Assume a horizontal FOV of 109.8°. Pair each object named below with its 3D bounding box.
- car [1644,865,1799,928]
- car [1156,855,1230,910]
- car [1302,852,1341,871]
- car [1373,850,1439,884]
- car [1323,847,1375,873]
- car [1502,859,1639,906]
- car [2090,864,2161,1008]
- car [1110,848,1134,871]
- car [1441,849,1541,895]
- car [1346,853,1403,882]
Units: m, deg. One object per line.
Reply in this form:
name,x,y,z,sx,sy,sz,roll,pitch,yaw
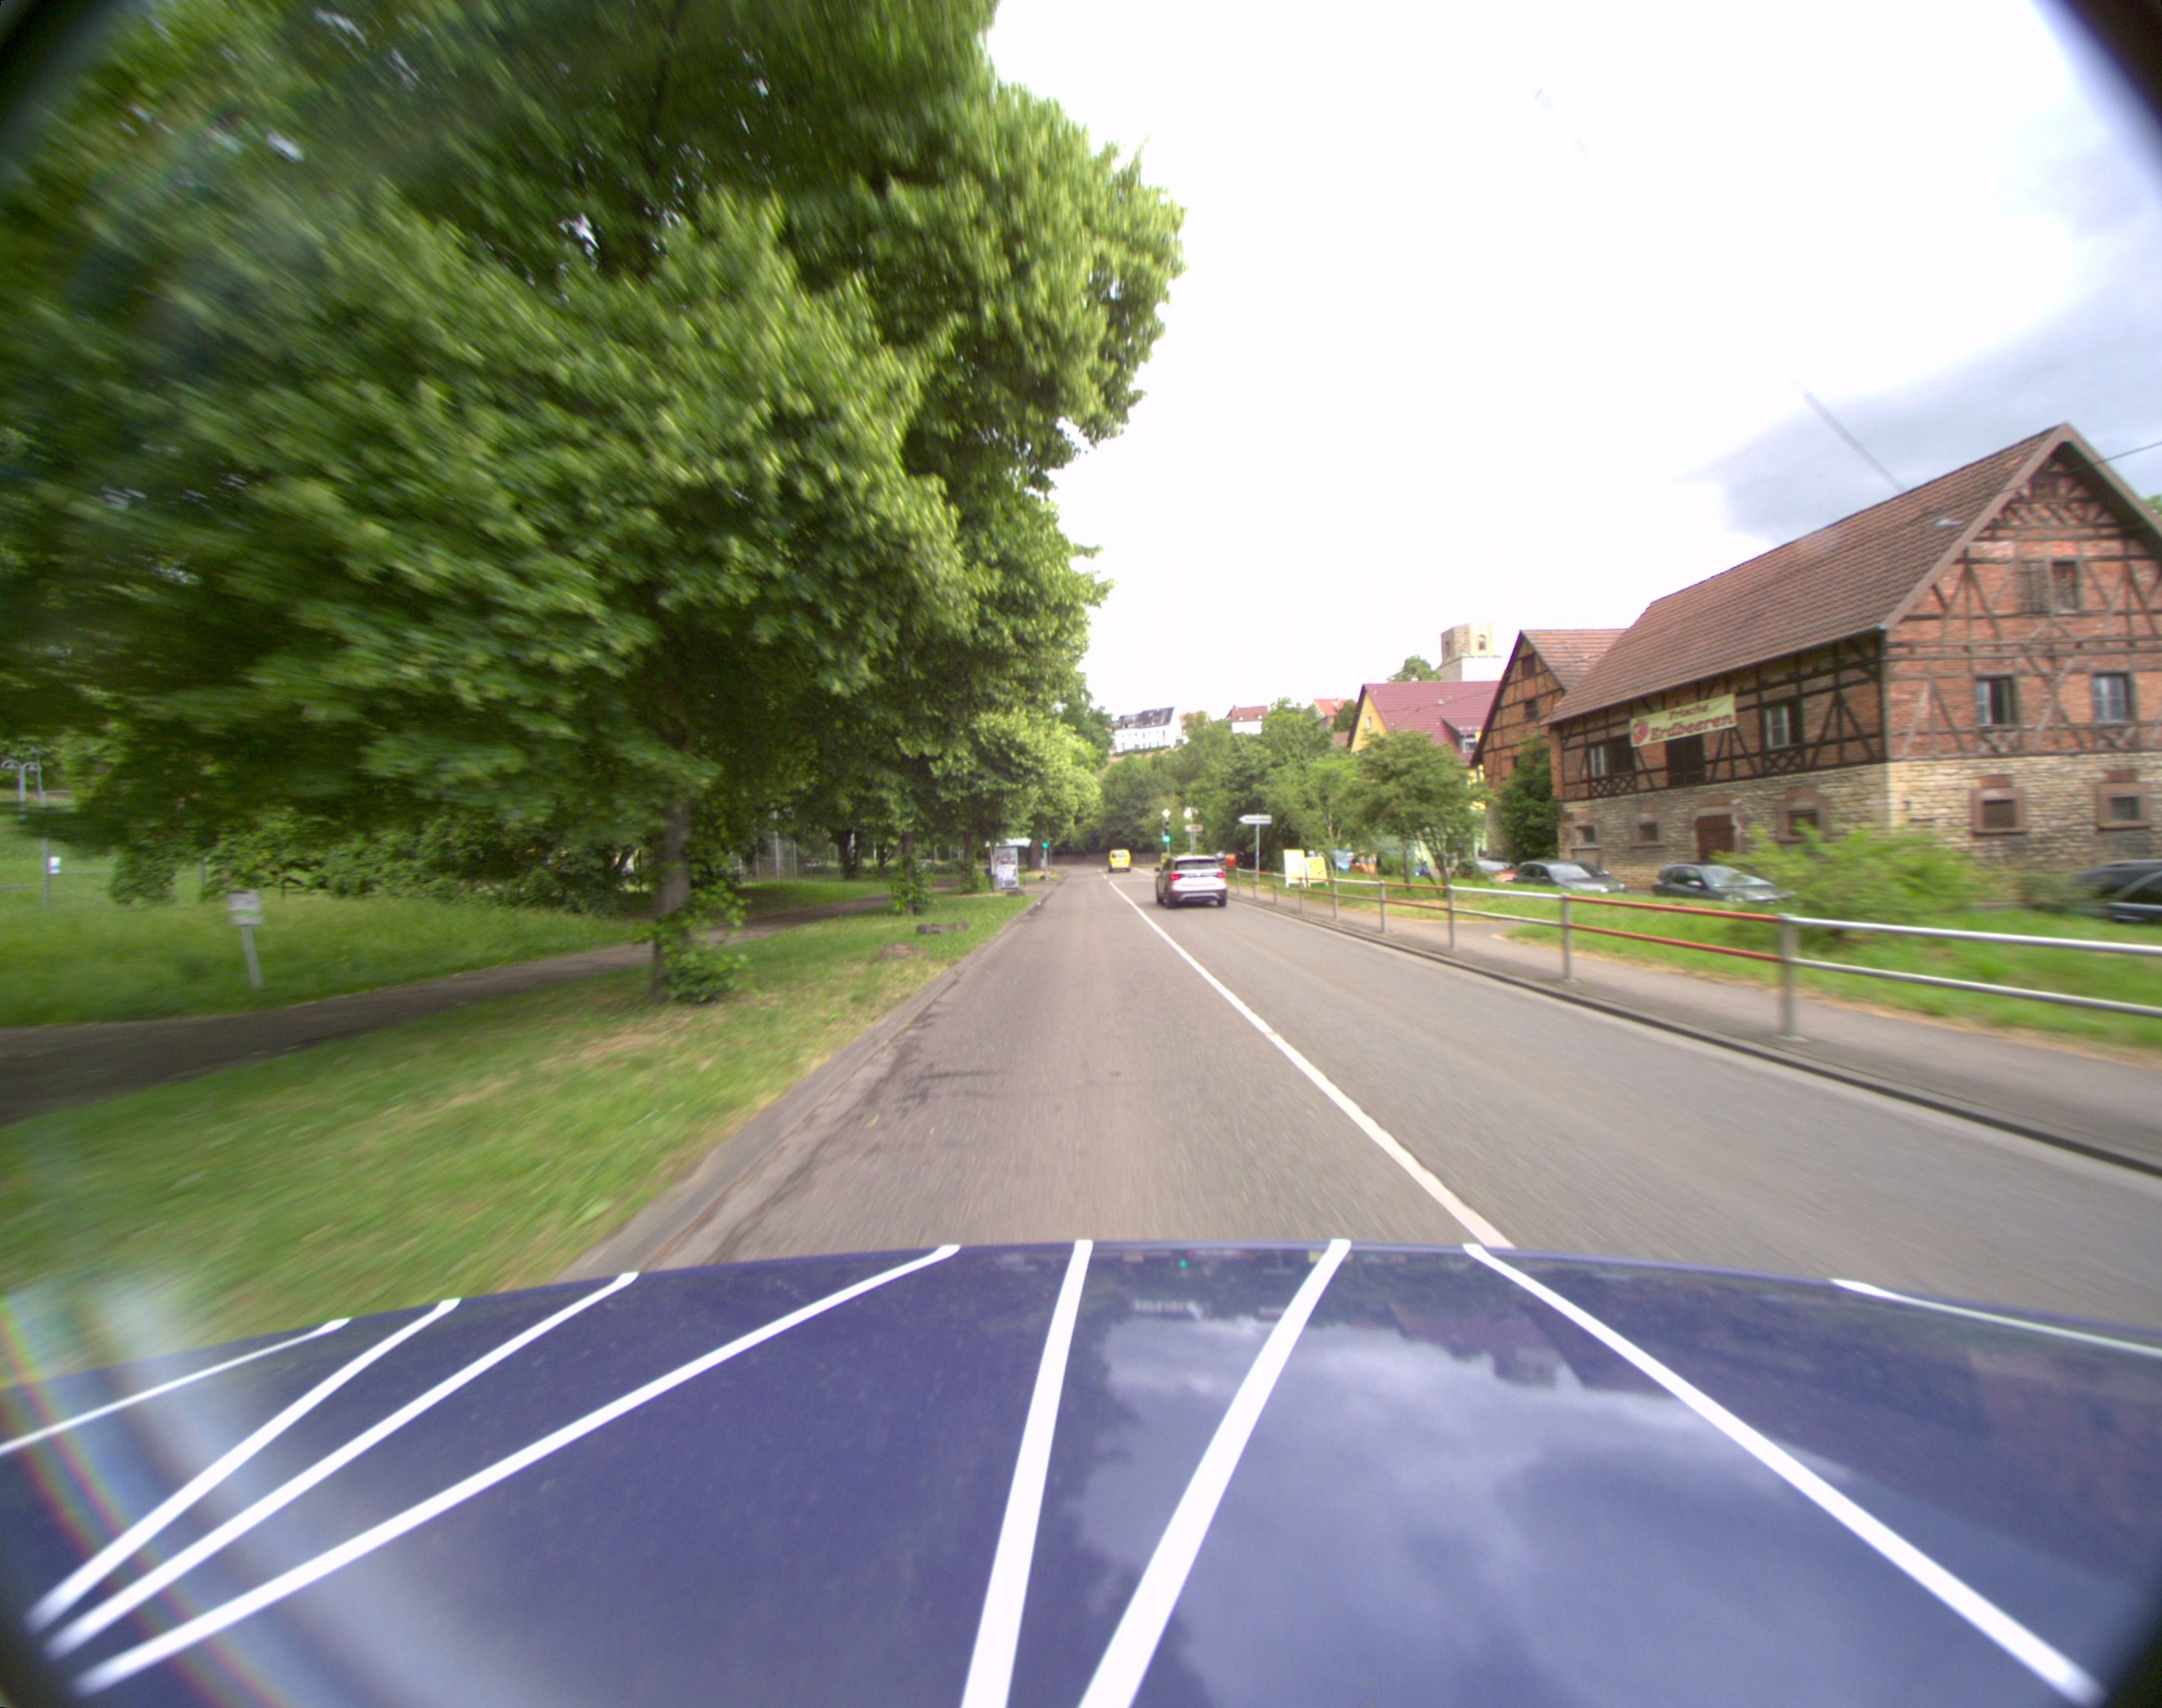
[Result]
car,14.511,0.926,17.383,1.556,1.270,2.555,-1,0,6
car,3.352,0.799,23.339,1.709,1.503,4.000,-1,0,1
car,18.010,0.523,57.071,1.649,1.337,4.152,-1,0,0
car,16.323,0.599,38.381,1.815,1.608,4.001,-1,0,3
car,17.536,0.398,49.982,1.998,1.608,4.448,-1,0,3
car,14.997,0.818,23.568,1.997,1.269,4.002,-1,0,6
car,13.599,0.966,7.598,1.925,1.685,4.002,-1,0,6
car,3.664,0.493,68.726,1.850,1.919,4.769,-3,0,1
car,15.445,0.641,28.848,1.815,1.608,4.001,-1,0,3
car,16.980,0.750,44.202,1.952,1.608,4.001,-1,0,3
